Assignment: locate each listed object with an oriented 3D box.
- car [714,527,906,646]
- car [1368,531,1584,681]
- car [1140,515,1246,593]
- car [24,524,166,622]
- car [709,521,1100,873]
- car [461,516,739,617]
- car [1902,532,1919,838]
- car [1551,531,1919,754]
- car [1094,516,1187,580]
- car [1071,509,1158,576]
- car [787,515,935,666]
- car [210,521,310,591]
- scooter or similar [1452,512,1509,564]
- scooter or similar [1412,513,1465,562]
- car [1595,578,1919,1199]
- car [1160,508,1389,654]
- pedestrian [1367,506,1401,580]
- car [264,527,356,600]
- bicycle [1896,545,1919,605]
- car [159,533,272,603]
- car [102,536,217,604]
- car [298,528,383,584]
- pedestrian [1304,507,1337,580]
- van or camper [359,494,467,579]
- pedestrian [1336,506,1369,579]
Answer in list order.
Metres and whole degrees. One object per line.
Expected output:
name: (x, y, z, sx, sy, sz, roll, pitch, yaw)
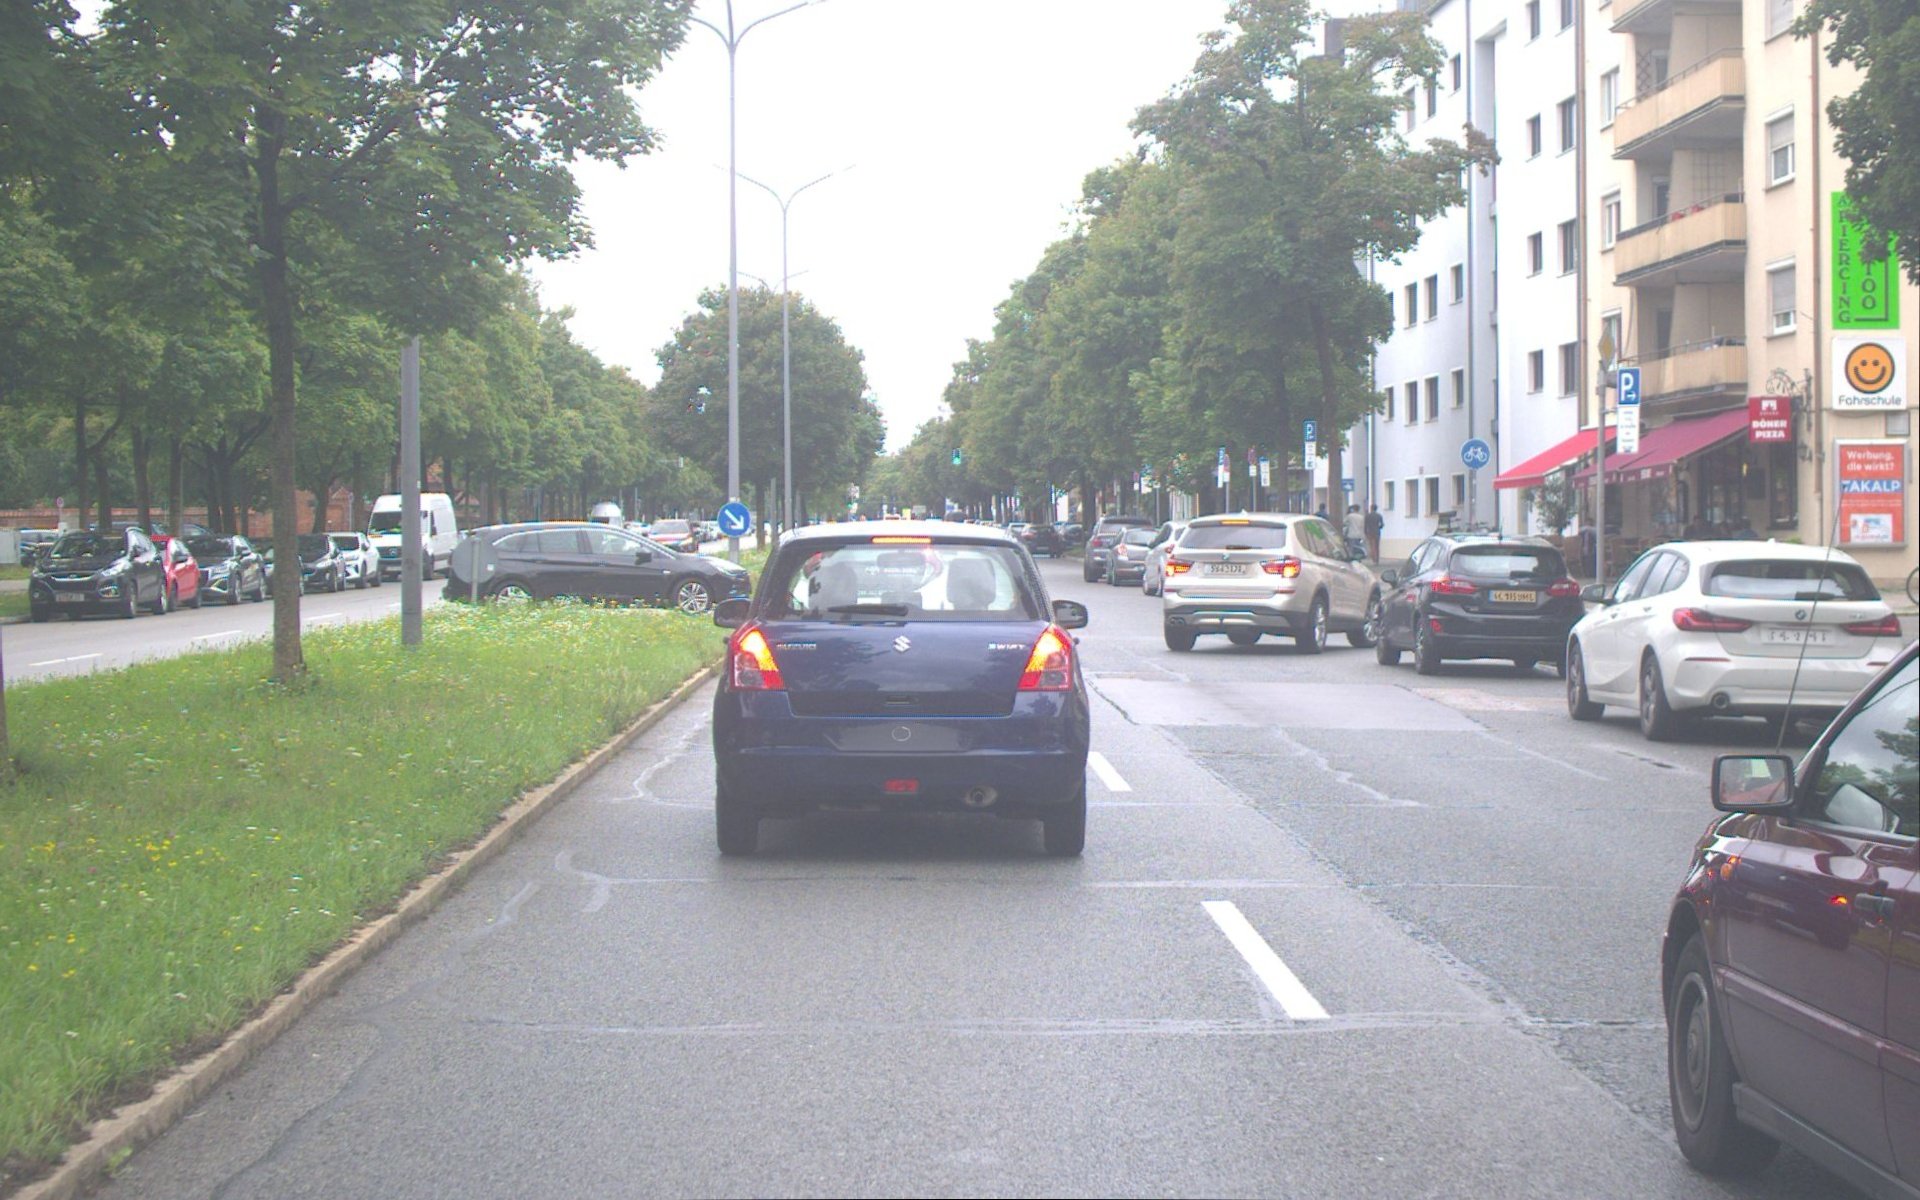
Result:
car: (-1.995, -0.214, 44.753, 1.681, 1.458, 3.735, 0, 2, -16)
car: (5.397, 0.022, 36.324, 1.617, 1.460, 3.674, 2, 1, -1)
car: (4.860, -0.995, 72.211, 1.791, 1.553, 4.225, -1, 2, -2)
car: (-15.811, -0.514, 62.977, 1.716, 1.735, 3.879, 1, 1, -2)
car: (-0.306, 0.374, 16.750, 1.682, 1.496, 3.919, 0, 2, -2)
car: (-5.467, -0.527, 52.226, 4.121, 1.463, 1.840, -1, 1, -7)
car: (5.688, 0.489, 15.312, 1.716, 1.528, 4.276, 1, 1, -1)
car: (5.731, 0.255, 25.866, 1.682, 1.460, 4.138, 2, 1, -2)
car: (4.420, -1.307, 84.858, 1.865, 1.512, 4.225, -1, 2, -3)
car: (3.994, -1.515, 89.473, 1.865, 1.677, 4.225, -1, 2, -3)
car: (-1.026, -0.128, 35.313, 1.444, 1.478, 3.107, 0, 2, -2)
car: (-15.992, -1.020, 78.662, 1.590, 1.553, 3.879, 1, 1, -2)
scooter or similar: (13.318, -1.585, 88.012, 1.033, 1.303, 2.755, 0, 1, 0)
scooter or similar: (12.983, -1.712, 93.354, 1.033, 1.303, 2.755, 0, 1, 0)
car: (2.486, 0.693, 6.638, 1.682, 1.379, 3.919, 1, 1, -1)
car: (3.906, -0.268, 42.040, 1.867, 1.655, 4.404, 2, 2, 17)
pedestrian: (11.717, -1.576, 94.968, 0.794, 2.007, 1.006, 0, 1, 0)
car: (-16.063, -0.914, 85.042, 1.632, 1.735, 3.879, 1, 1, -2)
bicycle: (16.070, -0.391, 55.348, 1.847, 0.954, 0.557, 1, 1, -2)
car: (-15.844, -0.709, 73.318, 1.667, 1.440, 3.879, 1, 1, -2)
car: (-15.898, -0.617, 68.424, 1.590, 1.307, 3.381, 1, 1, -2)
car: (-16.251, -1.159, 90.373, 1.632, 1.426, 3.879, 1, 1, -2)
pedestrian: (9.948, -1.574, 94.937, 0.794, 2.007, 1.006, 0, 1, 0)
van or camper: (-16.575, -1.934, 104.542, 2.117, 2.473, 7.449, 1, 1, 0)
pedestrian: (10.827, -1.585, 94.917, 0.794, 2.007, 1.006, 0, 1, 0)
